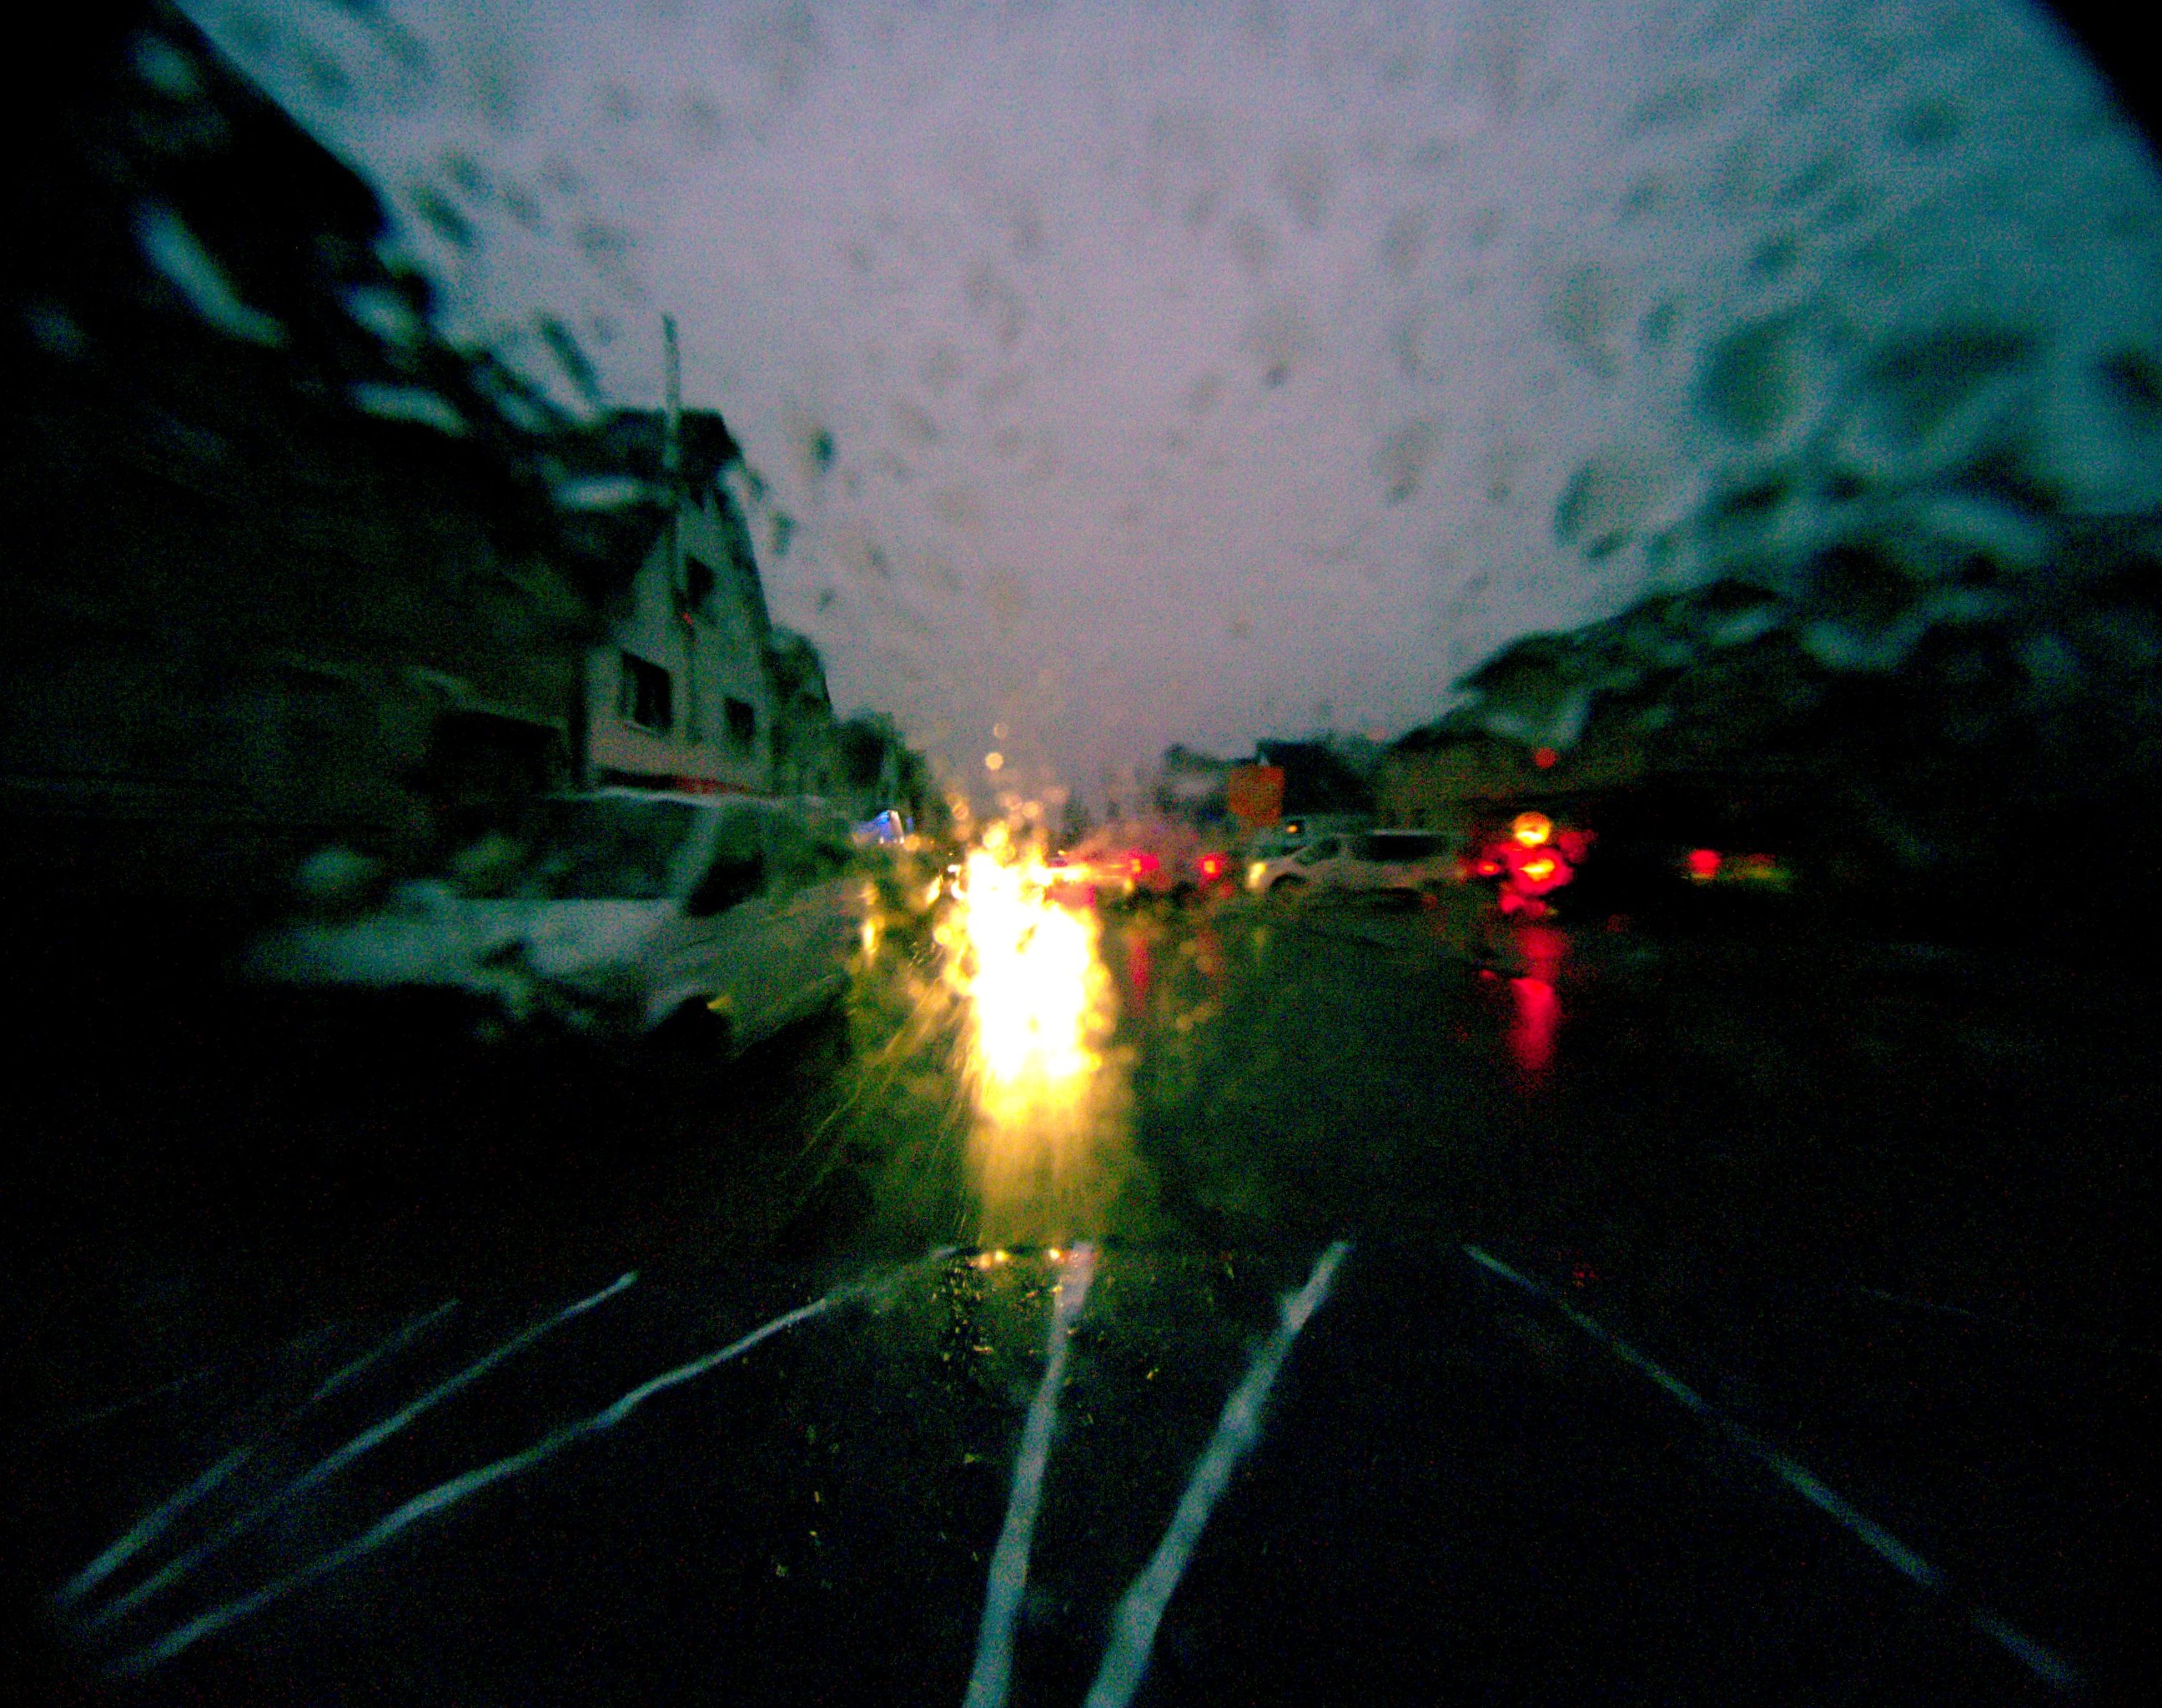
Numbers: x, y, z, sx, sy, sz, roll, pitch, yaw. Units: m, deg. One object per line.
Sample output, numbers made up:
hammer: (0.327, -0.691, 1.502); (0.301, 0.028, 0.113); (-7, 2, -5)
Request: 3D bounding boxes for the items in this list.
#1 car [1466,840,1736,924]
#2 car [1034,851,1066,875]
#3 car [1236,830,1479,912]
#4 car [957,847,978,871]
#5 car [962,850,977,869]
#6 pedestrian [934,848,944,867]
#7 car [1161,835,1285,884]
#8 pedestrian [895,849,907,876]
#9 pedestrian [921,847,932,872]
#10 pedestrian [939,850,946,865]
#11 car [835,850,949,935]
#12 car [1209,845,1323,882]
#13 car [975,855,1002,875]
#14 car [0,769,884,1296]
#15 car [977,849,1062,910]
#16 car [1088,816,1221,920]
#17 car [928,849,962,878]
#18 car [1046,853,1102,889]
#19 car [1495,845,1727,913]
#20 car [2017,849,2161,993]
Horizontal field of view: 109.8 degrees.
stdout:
car: (10.957, 0.528, 16.231); (4.448, 1.623, 2.153); (-1, 1, -7)
car: (-2.037, 0.564, 49.172); (1.625, 1.471, 3.836); (1, 0, -9)
car: (7.205, 0.462, 20.361); (5.772, 1.934, 1.992); (-2, 0, 6)
car: (-10.048, 0.468, 67.103); (1.750, 2.001, 3.805); (1, -1, -8)
car: (-12.269, 0.622, 83.695); (1.532, 2.002, 3.997); (0, 0, -7)
pedestrian: (-13.513, 0.349, 72.260); (0.820, 1.754, 1.059); (0, 0, -8)
car: (5.096, 0.186, 27.593); (4.000, 1.674, 1.998); (0, 0, -8)
pedestrian: (-11.613, 0.533, 49.096); (0.609, 1.711, 0.650); (1, 0, -2)
pedestrian: (-11.328, 0.406, 55.599); (0.650, 1.786, 0.508); (1, 0, 4)
pedestrian: (-14.418, 0.350, 79.184); (0.656, 1.596, 0.722); (0, 1, -5)
car: (-4.100, 0.754, 17.204); (1.980, 1.651, 4.457); (0, 0, -7)
car: (8.766, 0.461, 36.177); (4.880, 1.674, 1.999); (0, -1, -6)
car: (-6.065, 0.706, 49.782); (1.666, 1.205, 3.774); (0, 1, -8)
car: (-2.999, 0.662, 5.242); (1.978, 1.948, 4.851); (0, 0, 0)
car: (-1.840, 0.673, 23.160); (2.271, 1.633, 5.063); (-1, 1, -4)
car: (1.795, 0.318, 21.127); (2.202, 2.476, 6.137); (-1, 0, -9)
car: (-8.708, 0.558, 48.983); (2.000, 1.774, 4.516); (0, 0, -8)
car: (-0.371, 0.697, 33.437); (1.832, 1.510, 4.544); (0, 0, -9)
car: (14.053, 0.647, 20.371); (4.765, 1.626, 2.000); (1, 0, 2)
car: (12.881, 0.691, 7.676); (3.923, 1.450, 1.766); (0, 0, 27)
